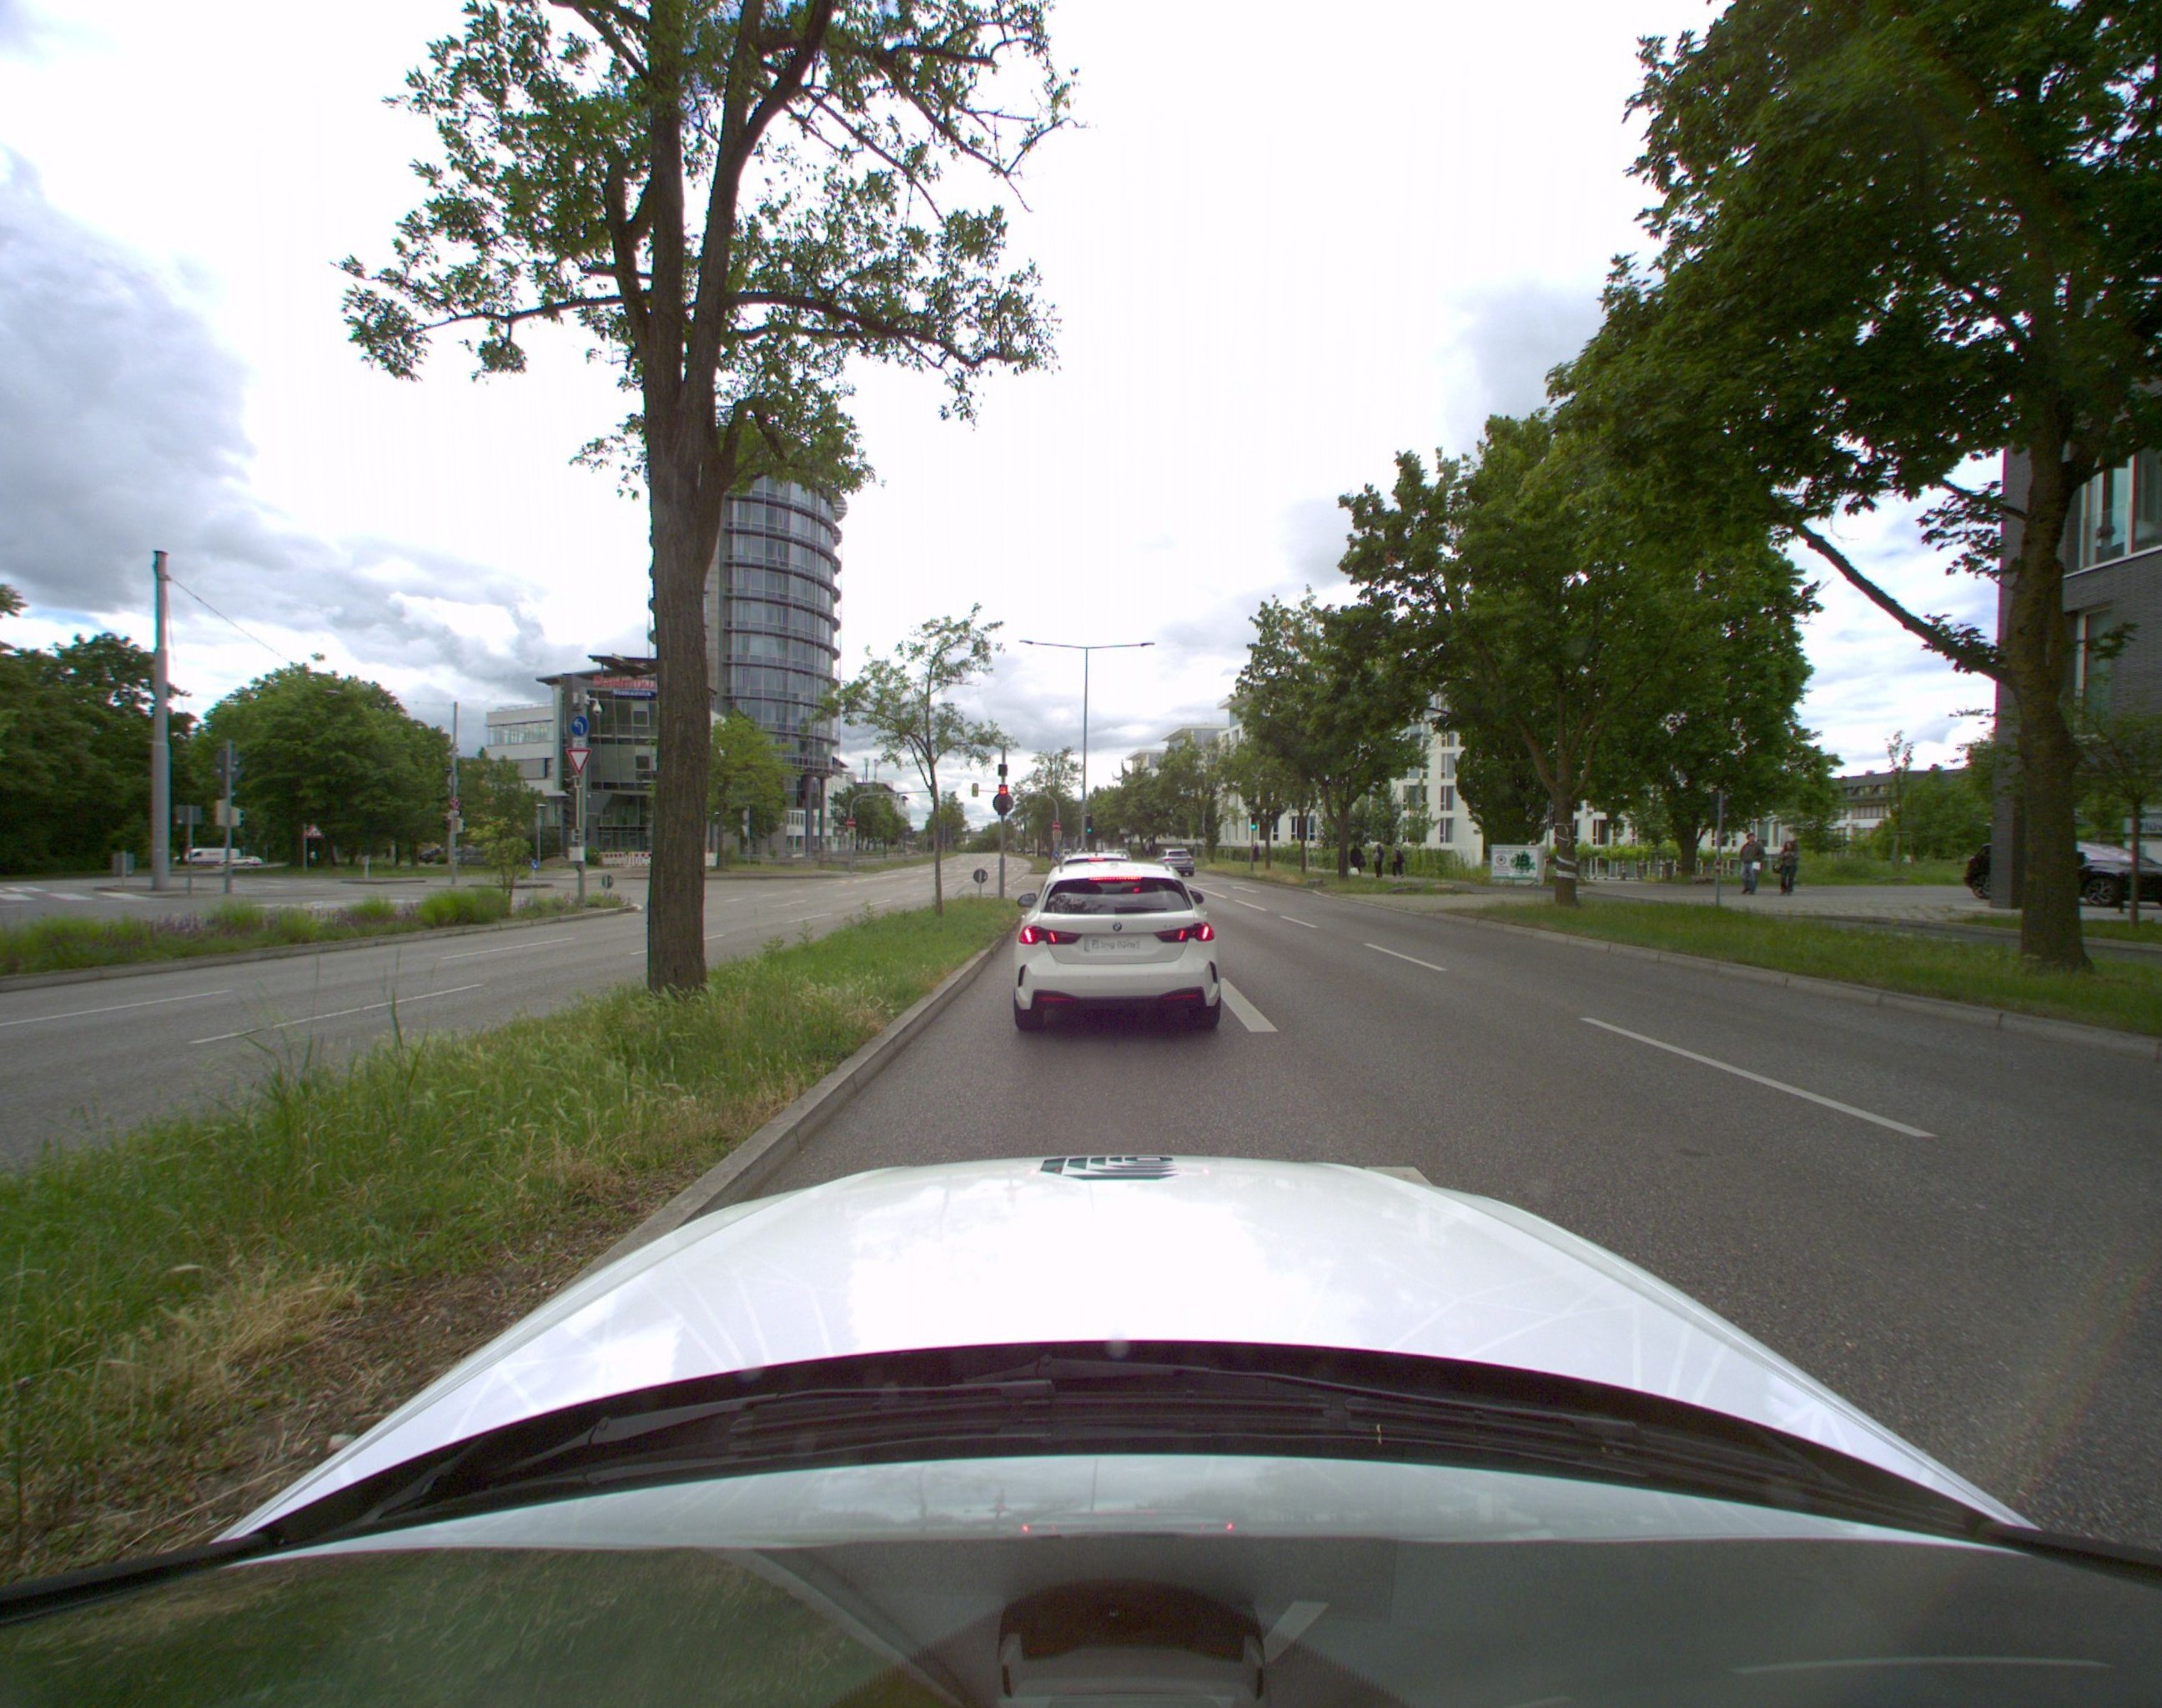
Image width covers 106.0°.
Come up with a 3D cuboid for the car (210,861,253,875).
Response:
[{"bbox_3d":[-121.501,2.025,116.534,3.985,2.013,1.718,0,0,-9],"label":"car"}]

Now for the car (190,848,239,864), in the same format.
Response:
[{"bbox_3d":[-128.877,0.256,121.192,1.978,2.339,4.570,-1,-1,16],"label":"car"}]

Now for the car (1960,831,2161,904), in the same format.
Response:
[{"bbox_3d":[24.893,0.296,20.233,1.749,1.646,4.151,0,0,2],"label":"car"}]

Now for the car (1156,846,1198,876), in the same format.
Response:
[{"bbox_3d":[5.637,0.406,48.430,1.987,1.670,3.999,-2,0,0],"label":"car"}]

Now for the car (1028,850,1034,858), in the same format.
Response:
[{"bbox_3d":[-13.725,0.021,223.785,1.834,2.014,3.994,0,-1,-4],"label":"car"}]

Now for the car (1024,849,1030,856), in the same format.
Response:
[{"bbox_3d":[-16.482,-0.469,249.338,1.834,2.014,3.994,0,-1,-4],"label":"car"}]

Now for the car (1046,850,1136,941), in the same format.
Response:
[{"bbox_3d":[0.243,0.711,15.985,1.544,1.569,4.002,0,0,2],"label":"car"}]

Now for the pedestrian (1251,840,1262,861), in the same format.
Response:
[{"bbox_3d":[13.548,-0.285,62.953,0.739,1.574,0.674,0,-1,0],"label":"pedestrian"}]

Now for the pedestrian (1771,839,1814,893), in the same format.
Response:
[{"bbox_3d":[21.261,0.351,24.338,0.880,1.557,0.825,0,0,-38],"label":"pedestrian"}]

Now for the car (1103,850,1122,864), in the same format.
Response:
[{"bbox_3d":[3.432,0.284,88.960,1.689,1.486,3.689,0,0,-3],"label":"car"}]

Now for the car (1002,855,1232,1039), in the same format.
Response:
[{"bbox_3d":[0.350,0.738,8.458,1.815,1.438,4.002,0,0,2],"label":"car"}]

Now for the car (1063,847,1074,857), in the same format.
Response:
[{"bbox_3d":[-2.027,-0.283,134.569,1.734,1.666,3.997,0,0,-2],"label":"car"}]

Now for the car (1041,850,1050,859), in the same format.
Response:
[{"bbox_3d":[-6.310,0.074,146.486,1.597,1.666,3.997,0,0,-2],"label":"car"}]

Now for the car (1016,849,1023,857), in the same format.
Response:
[{"bbox_3d":[-17.207,-0.269,229.102,1.834,2.014,3.994,0,-1,-4],"label":"car"}]

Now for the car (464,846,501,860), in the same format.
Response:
[{"bbox_3d":[-37.364,-0.062,50.887,0.766,0.876,1.730,0,0,38],"label":"car"}]

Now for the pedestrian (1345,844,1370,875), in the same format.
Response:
[{"bbox_3d":[12.805,0.252,37.754,0.786,1.448,1.112,0,-1,1],"label":"pedestrian"}]

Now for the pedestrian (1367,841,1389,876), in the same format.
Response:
[{"bbox_3d":[13.713,0.197,37.634,0.697,1.595,0.883,0,-1,1],"label":"pedestrian"}]

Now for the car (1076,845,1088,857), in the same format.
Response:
[{"bbox_3d":[0.105,-0.445,114.573,1.597,1.666,3.997,0,0,-2],"label":"car"}]

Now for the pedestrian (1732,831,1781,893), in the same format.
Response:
[{"bbox_3d":[20.684,0.239,24.946,0.983,1.868,0.952,0,0,-38],"label":"pedestrian"}]

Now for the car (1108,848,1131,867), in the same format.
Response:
[{"bbox_3d":[3.535,0.325,75.029,1.692,1.717,3.994,0,0,-4],"label":"car"}]

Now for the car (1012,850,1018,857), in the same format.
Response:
[{"bbox_3d":[-20.378,-0.218,251.390,1.834,2.014,3.994,0,-1,-4],"label":"car"}]

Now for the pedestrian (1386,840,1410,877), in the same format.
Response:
[{"bbox_3d":[14.659,0.191,37.729,0.764,1.685,0.883,0,-1,1],"label":"pedestrian"}]
